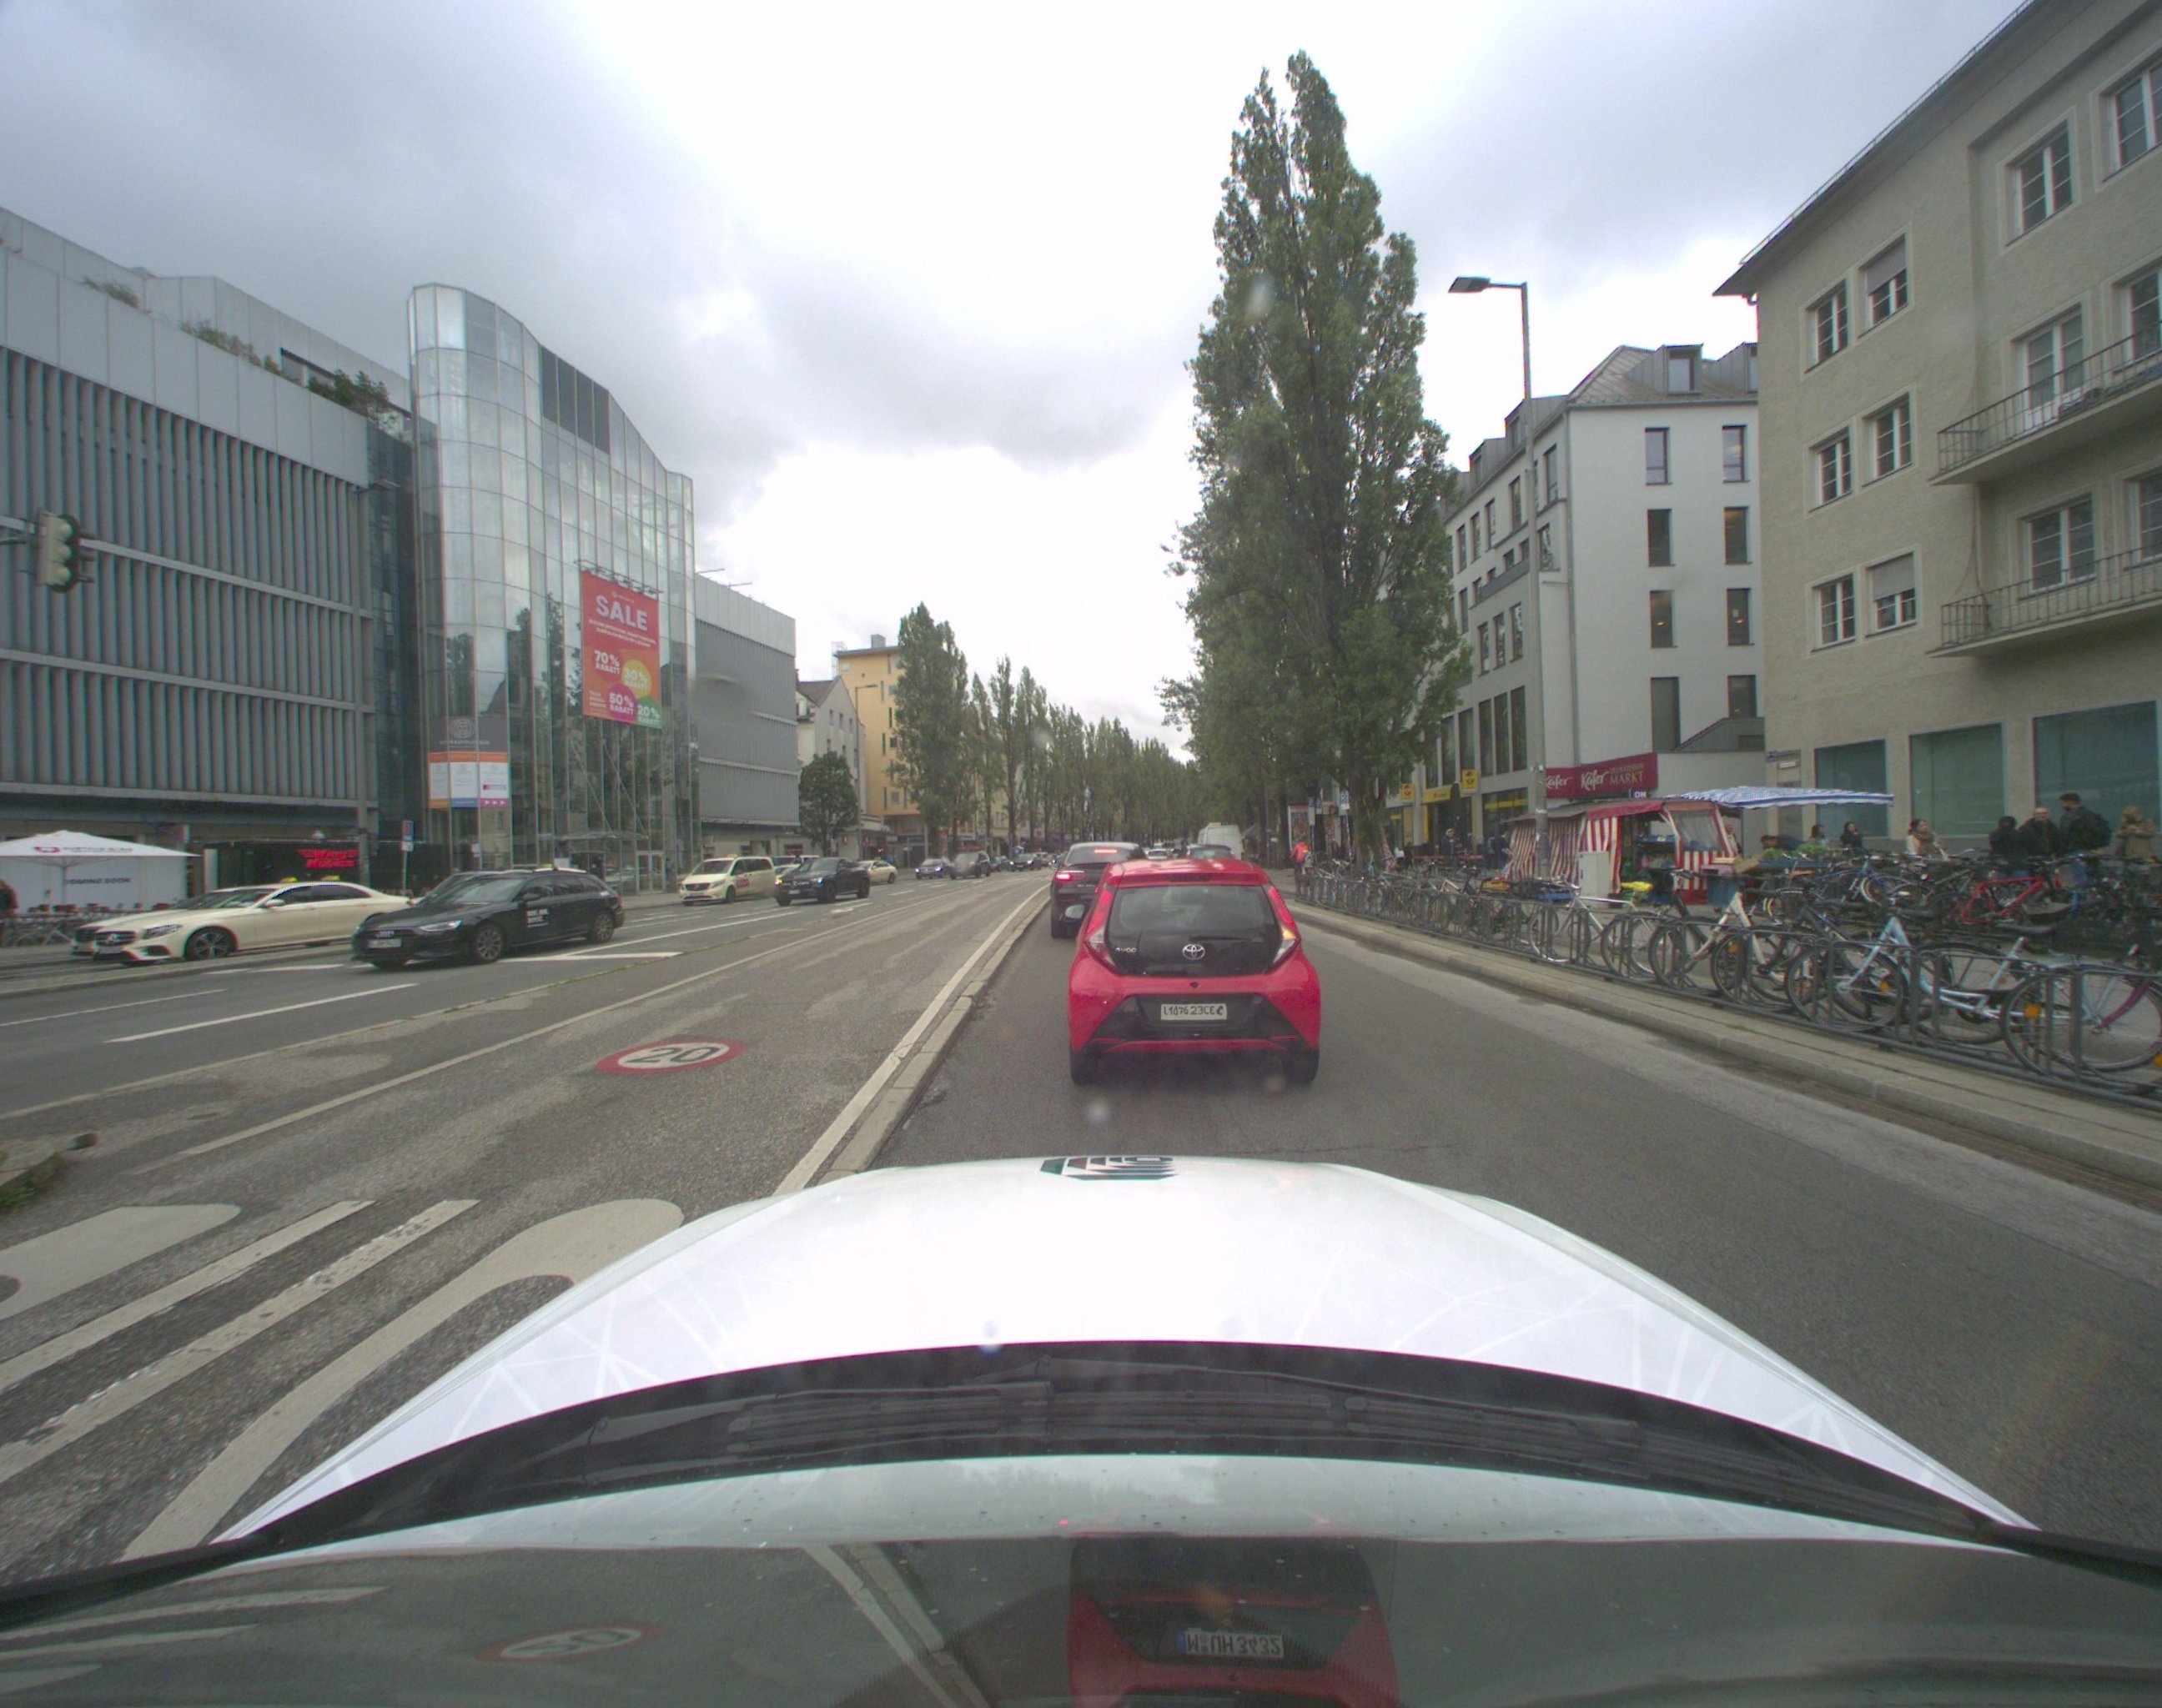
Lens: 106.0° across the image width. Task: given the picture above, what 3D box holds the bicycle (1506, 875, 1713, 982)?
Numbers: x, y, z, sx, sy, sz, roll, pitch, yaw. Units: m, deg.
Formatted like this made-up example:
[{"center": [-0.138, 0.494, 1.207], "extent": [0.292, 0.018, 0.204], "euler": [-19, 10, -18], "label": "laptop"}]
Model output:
[{"center": [5.790, 0.768, 8.995], "extent": [1.815, 1.052, 0.590], "euler": [-2, 0, 43], "label": "bicycle"}]

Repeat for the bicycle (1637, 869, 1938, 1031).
[{"center": [5.804, 0.725, 6.805], "extent": [1.815, 1.168, 0.590], "euler": [-2, 0, 43], "label": "bicycle"}]

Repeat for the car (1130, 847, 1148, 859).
[{"center": [9.029, -0.165, 126.191], "extent": [1.979, 1.691, 4.430], "euler": [-2, 0, 14], "label": "car"}]

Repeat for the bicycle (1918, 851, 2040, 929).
[{"center": [12.167, 0.480, 11.043], "extent": [1.240, 0.981, 0.369], "euler": [-2, 0, -1], "label": "bicycle"}]

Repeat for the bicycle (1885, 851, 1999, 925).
[{"center": [12.270, 0.478, 11.618], "extent": [1.240, 0.981, 0.369], "euler": [-2, 0, -1], "label": "bicycle"}]

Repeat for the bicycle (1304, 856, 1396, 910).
[{"center": [5.972, 0.633, 18.145], "extent": [1.814, 1.136, 0.590], "euler": [-2, 0, 37], "label": "bicycle"}]

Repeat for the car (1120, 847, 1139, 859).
[{"center": [7.127, -0.148, 118.928], "extent": [1.979, 1.691, 4.430], "euler": [-2, 0, 14], "label": "car"}]

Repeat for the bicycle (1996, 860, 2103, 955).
[{"center": [10.827, 0.572, 9.101], "extent": [1.229, 0.963, 0.366], "euler": [-2, 0, -21], "label": "bicycle"}]

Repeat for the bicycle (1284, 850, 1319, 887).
[{"center": [8.001, 0.489, 29.605], "extent": [0.611, 1.265, 2.521], "euler": [-2, 0, 2], "label": "bicycle"}]

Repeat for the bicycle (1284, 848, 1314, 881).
[{"center": [8.905, 0.415, 33.381], "extent": [0.611, 1.265, 2.521], "euler": [-2, 0, 2], "label": "bicycle"}]

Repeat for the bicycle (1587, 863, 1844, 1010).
[{"center": [5.847, 0.703, 7.587], "extent": [1.815, 1.197, 0.590], "euler": [-2, 0, 43], "label": "bicycle"}]

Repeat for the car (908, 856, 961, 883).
[{"center": [-9.889, 1.005, 55.388], "extent": [1.980, 1.609, 4.548], "euler": [-2, 0, 11], "label": "car"}]

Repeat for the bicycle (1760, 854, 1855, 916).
[{"center": [11.986, 0.501, 13.449], "extent": [1.240, 0.963, 0.369], "euler": [-2, 0, -1], "label": "bicycle"}]

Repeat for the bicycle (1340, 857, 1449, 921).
[{"center": [5.914, 0.646, 15.416], "extent": [1.814, 1.136, 0.590], "euler": [-2, 0, 37], "label": "bicycle"}]

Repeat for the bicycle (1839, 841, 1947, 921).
[{"center": [12.183, 0.395, 12.232], "extent": [1.240, 1.140, 0.369], "euler": [-2, 0, -1], "label": "bicycle"}]

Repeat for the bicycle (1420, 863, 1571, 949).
[{"center": [5.927, 0.712, 11.727], "extent": [1.815, 1.136, 0.590], "euler": [-2, 0, 43], "label": "bicycle"}]

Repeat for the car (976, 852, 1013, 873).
[{"center": [-7.444, 0.700, 70.894], "extent": [1.982, 1.691, 4.932], "euler": [-2, 0, 8], "label": "car"}]

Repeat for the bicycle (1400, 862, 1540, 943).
[{"center": [5.924, 0.715, 12.488], "extent": [1.815, 1.136, 0.590], "euler": [-2, 0, 43], "label": "bicycle"}]

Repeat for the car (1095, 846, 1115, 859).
[{"center": [3.540, -0.194, 118.436], "extent": [1.979, 1.691, 4.430], "euler": [-2, 0, 14], "label": "car"}]

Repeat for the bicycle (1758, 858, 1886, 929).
[{"center": [10.788, 0.570, 11.880], "extent": [1.424, 0.963, 0.370], "euler": [-2, 0, 6], "label": "bicycle"}]

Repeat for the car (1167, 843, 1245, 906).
[{"center": [3.469, 0.529, 23.125], "extent": [1.697, 1.589, 3.557], "euler": [-3, 0, 1], "label": "car"}]

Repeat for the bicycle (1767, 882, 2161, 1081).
[{"center": [5.815, 0.762, 5.476], "extent": [1.782, 1.111, 0.590], "euler": [-2, 0, 43], "label": "bicycle"}]

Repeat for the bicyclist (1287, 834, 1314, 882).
[{"center": [7.972, 0.135, 29.595], "extent": [0.611, 1.657, 1.251], "euler": [-2, 0, 2], "label": "bicyclist"}]

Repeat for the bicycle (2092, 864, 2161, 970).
[{"center": [10.668, 0.583, 7.883], "extent": [1.399, 0.963, 0.369], "euler": [-2, 0, -5], "label": "bicycle"}]

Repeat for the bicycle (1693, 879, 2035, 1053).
[{"center": [5.772, 0.759, 6.142], "extent": [1.782, 1.111, 0.494], "euler": [-2, 0, 44], "label": "bicycle"}]

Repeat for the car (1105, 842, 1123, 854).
[{"center": [5.555, -0.963, 136.409], "extent": [1.979, 1.933, 4.430], "euler": [-2, 0, 14], "label": "car"}]

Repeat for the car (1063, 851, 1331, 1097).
[{"center": [0.759, 0.726, 6.506], "extent": [1.598, 1.461, 3.131], "euler": [-1, 0, 2], "label": "car"}]

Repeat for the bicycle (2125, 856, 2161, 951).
[{"center": [12.048, 0.510, 8.746], "extent": [1.240, 0.981, 0.369], "euler": [-2, 0, -3], "label": "bicycle"}]

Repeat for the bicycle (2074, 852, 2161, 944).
[{"center": [12.184, 0.489, 9.363], "extent": [1.243, 0.981, 0.368], "euler": [-2, 0, -8], "label": "bicycle"}]

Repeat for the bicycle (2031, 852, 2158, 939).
[{"center": [12.266, 0.487, 9.863], "extent": [1.243, 0.981, 0.368], "euler": [-2, 0, -8], "label": "bicycle"}]

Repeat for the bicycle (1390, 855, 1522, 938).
[{"center": [6.027, 0.659, 13.154], "extent": [1.815, 1.241, 0.590], "euler": [-2, 0, 43], "label": "bicycle"}]

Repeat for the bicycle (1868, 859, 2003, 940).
[{"center": [10.880, 0.570, 10.389], "extent": [1.255, 0.963, 0.369], "euler": [-2, 0, 3], "label": "bicycle"}]

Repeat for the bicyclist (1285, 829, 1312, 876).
[{"center": [8.905, -0.052, 33.404], "extent": [0.759, 1.869, 1.133], "euler": [-2, 0, 2], "label": "bicyclist"}]

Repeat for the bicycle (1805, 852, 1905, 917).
[{"center": [12.281, 0.480, 12.934], "extent": [1.240, 0.963, 0.369], "euler": [-2, 0, -1], "label": "bicycle"}]

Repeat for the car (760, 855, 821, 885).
[{"center": [-19.264, 1.023, 54.184], "extent": [1.858, 1.772, 4.254], "euler": [-2, 0, 10], "label": "car"}]

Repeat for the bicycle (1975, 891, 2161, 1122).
[{"center": [5.816, 0.770, 4.048], "extent": [1.782, 1.111, 0.566], "euler": [-2, 0, 43], "label": "bicycle"}]

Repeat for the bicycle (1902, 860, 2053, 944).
[{"center": [10.876, 0.577, 9.906], "extent": [1.253, 0.963, 0.370], "euler": [-2, 0, 10], "label": "bicycle"}]

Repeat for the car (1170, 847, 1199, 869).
[{"center": [7.333, 0.262, 58.027], "extent": [1.697, 1.529, 3.557], "euler": [-1, 0, 1], "label": "car"}]

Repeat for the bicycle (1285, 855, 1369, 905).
[{"center": [5.914, 0.625, 19.613], "extent": [1.814, 1.136, 0.590], "euler": [-2, 0, 37], "label": "bicycle"}]
